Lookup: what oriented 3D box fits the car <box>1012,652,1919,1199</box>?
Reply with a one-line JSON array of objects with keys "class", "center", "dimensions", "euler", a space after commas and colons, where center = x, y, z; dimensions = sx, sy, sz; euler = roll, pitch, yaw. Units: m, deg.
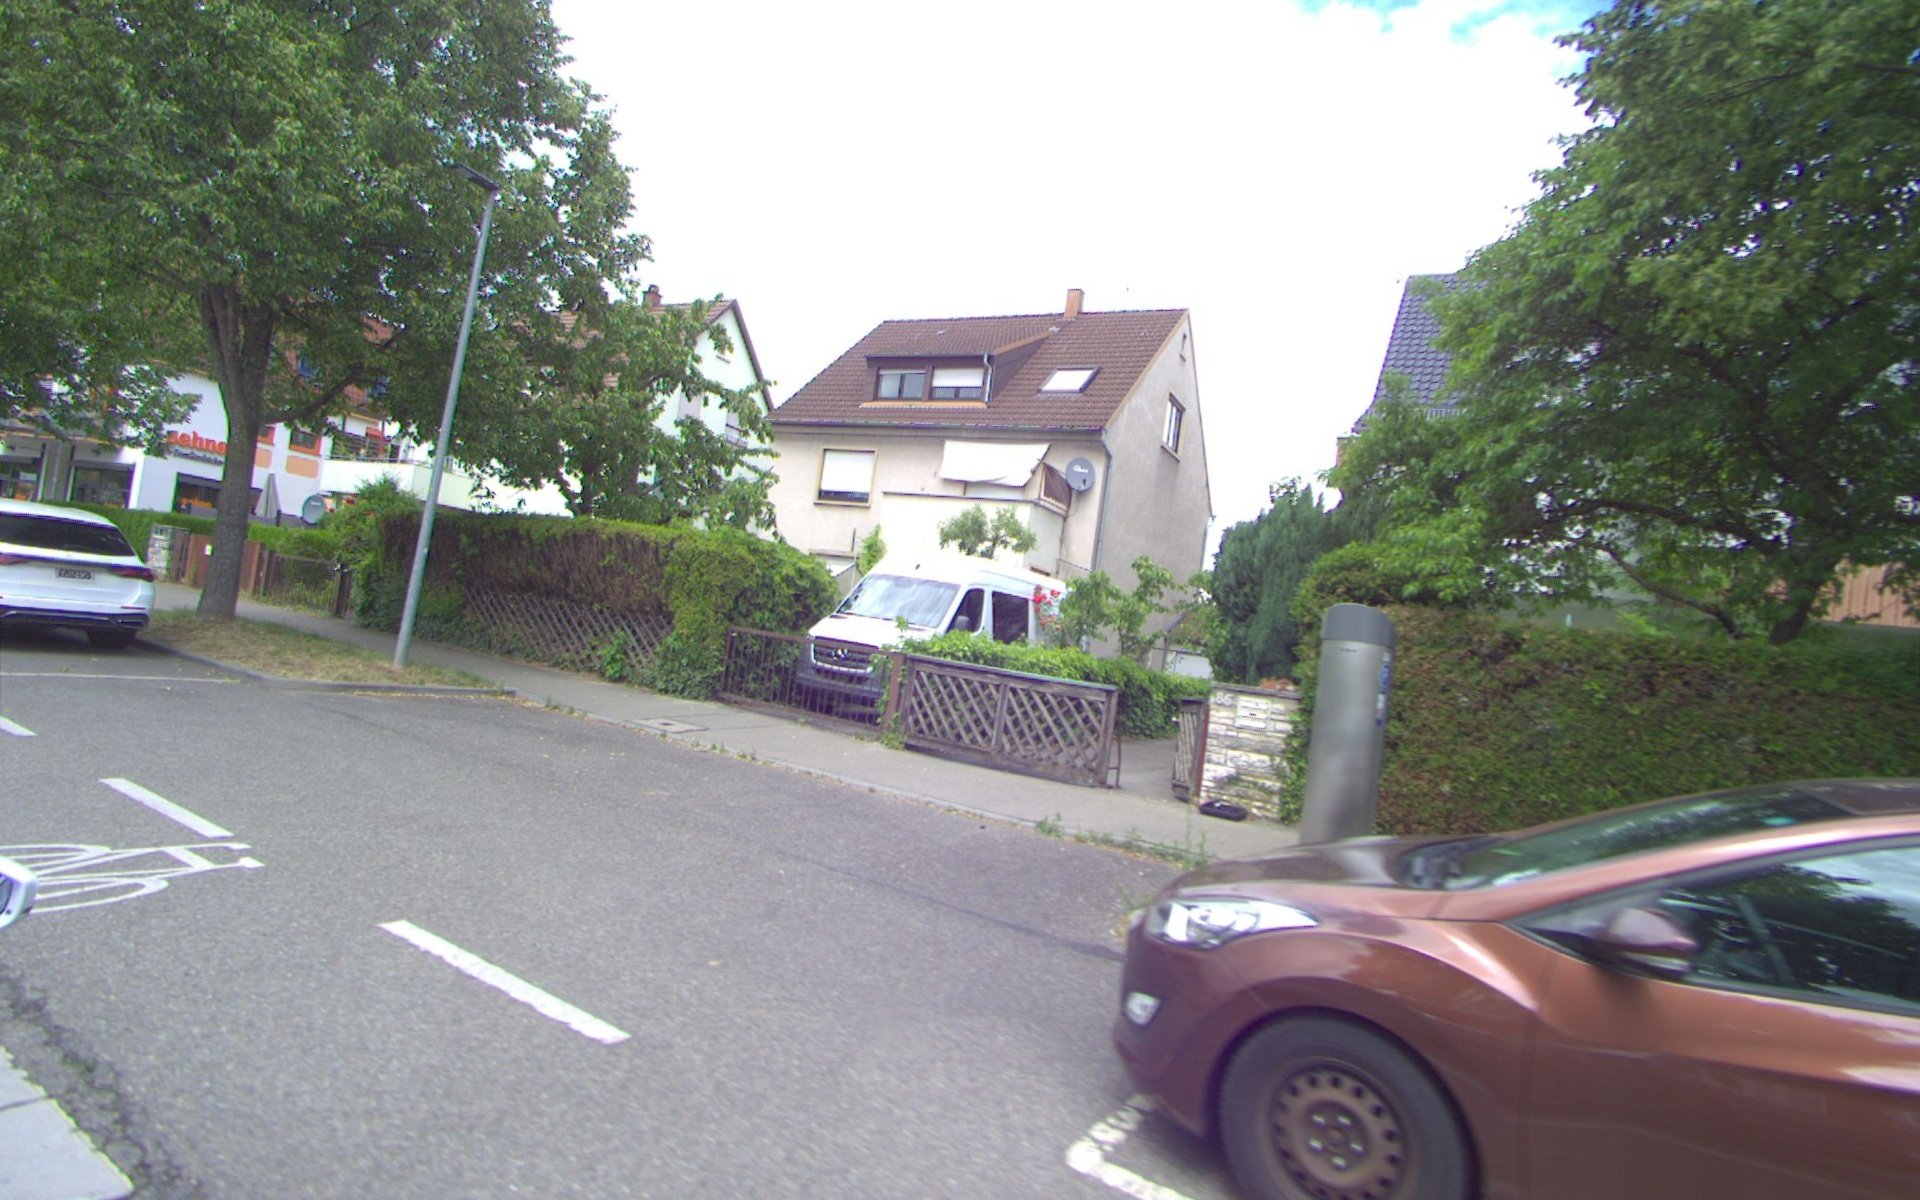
[{"class": "car", "center": [2.400, 1.148, 2.686], "dimensions": [4.107, 1.433, 1.655], "euler": [7, -1, 32]}]

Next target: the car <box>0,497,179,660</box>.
[{"class": "car", "center": [-10.939, -0.421, 11.212], "dimensions": [4.731, 1.492, 1.809], "euler": [7, -2, 31]}]

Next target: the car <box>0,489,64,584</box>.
[{"class": "car", "center": [-18.753, -1.378, 17.562], "dimensions": [1.663, 1.657, 4.228], "euler": [7, -1, 27]}]

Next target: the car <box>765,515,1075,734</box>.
[{"class": "car", "center": [-0.301, 0.549, 15.698], "dimensions": [1.963, 2.621, 5.730], "euler": [8, -2, 28]}]
